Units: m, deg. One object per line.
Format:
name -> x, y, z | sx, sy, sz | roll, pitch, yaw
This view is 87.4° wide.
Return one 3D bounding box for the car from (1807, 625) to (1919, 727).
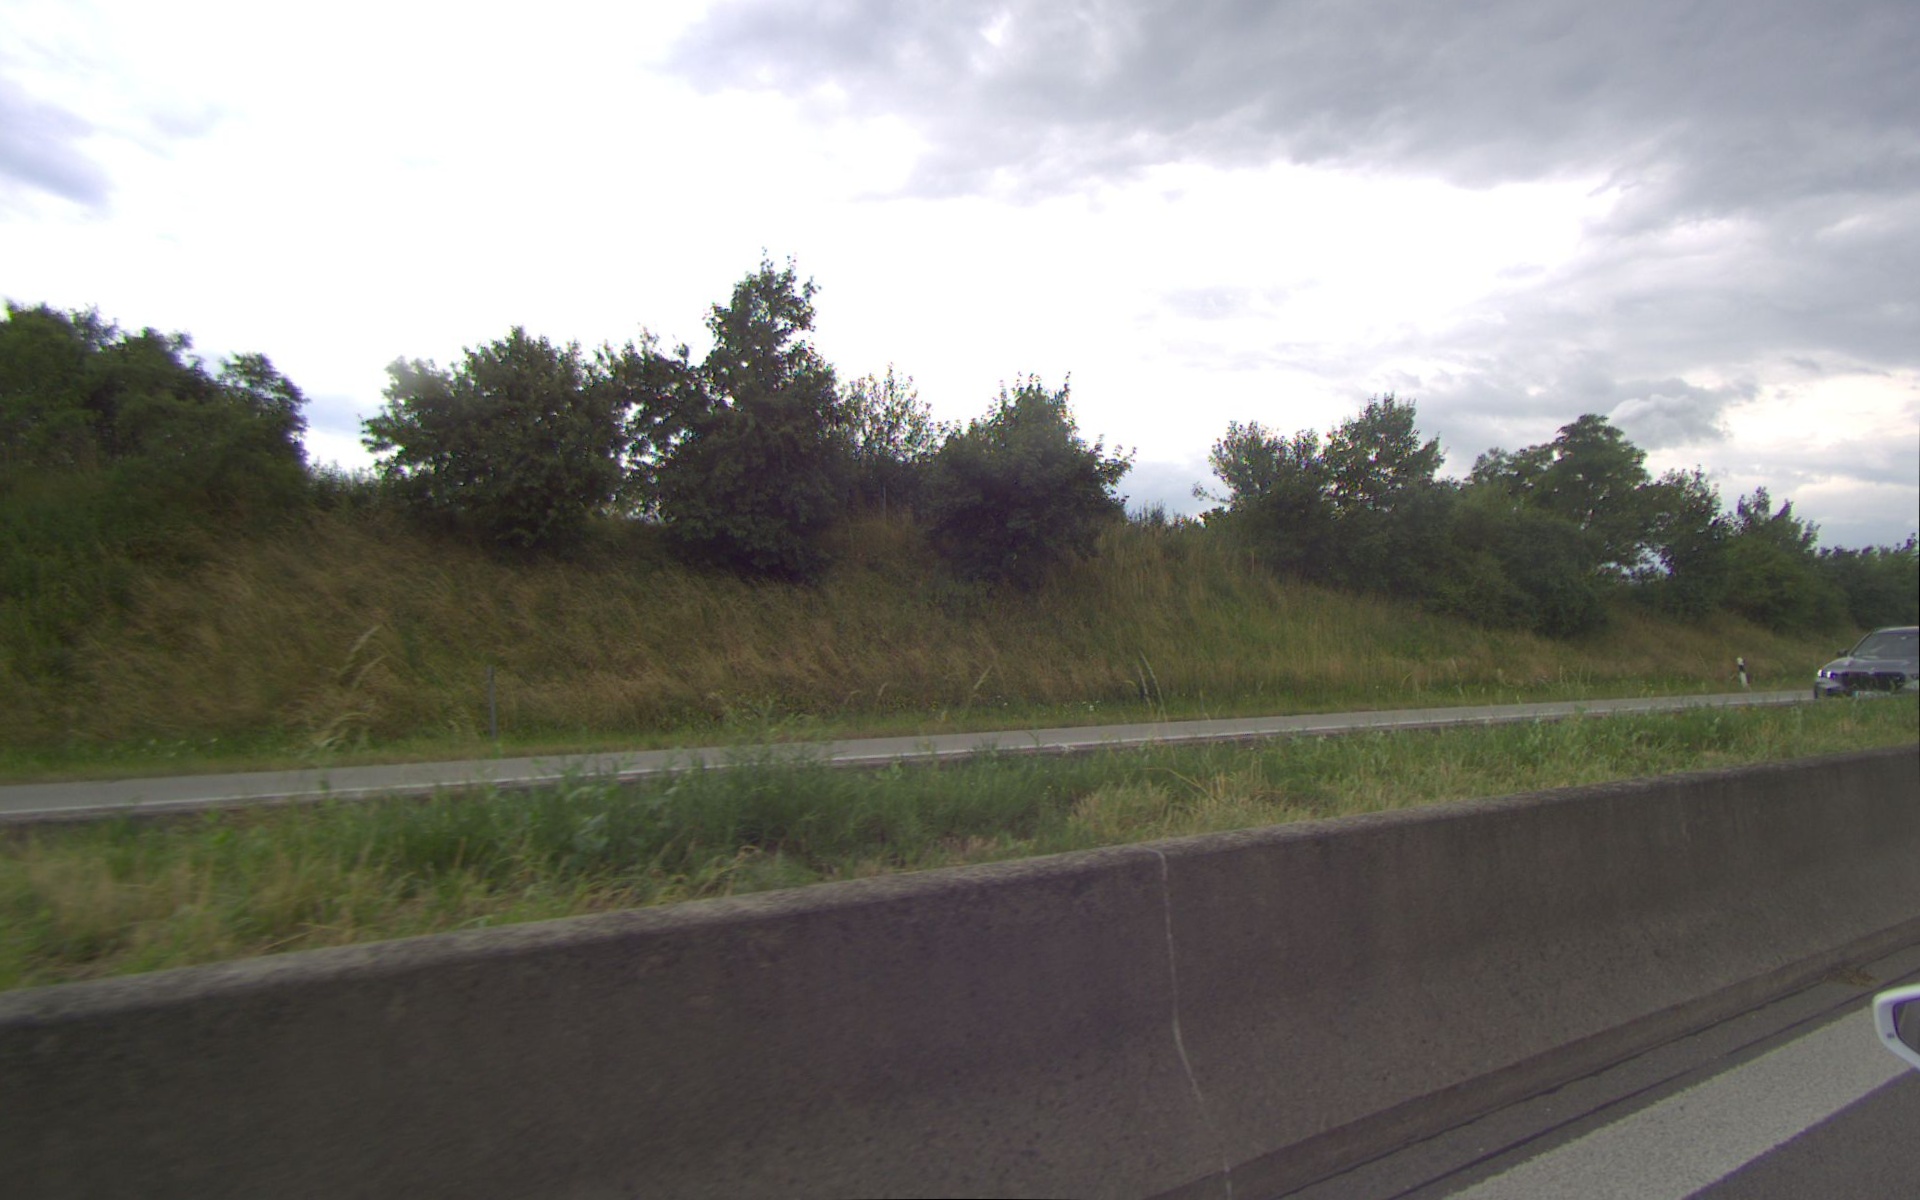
car -> 17.804, 1.342, 18.542 | 4.543, 1.716, 1.910 | 1, -3, -31
